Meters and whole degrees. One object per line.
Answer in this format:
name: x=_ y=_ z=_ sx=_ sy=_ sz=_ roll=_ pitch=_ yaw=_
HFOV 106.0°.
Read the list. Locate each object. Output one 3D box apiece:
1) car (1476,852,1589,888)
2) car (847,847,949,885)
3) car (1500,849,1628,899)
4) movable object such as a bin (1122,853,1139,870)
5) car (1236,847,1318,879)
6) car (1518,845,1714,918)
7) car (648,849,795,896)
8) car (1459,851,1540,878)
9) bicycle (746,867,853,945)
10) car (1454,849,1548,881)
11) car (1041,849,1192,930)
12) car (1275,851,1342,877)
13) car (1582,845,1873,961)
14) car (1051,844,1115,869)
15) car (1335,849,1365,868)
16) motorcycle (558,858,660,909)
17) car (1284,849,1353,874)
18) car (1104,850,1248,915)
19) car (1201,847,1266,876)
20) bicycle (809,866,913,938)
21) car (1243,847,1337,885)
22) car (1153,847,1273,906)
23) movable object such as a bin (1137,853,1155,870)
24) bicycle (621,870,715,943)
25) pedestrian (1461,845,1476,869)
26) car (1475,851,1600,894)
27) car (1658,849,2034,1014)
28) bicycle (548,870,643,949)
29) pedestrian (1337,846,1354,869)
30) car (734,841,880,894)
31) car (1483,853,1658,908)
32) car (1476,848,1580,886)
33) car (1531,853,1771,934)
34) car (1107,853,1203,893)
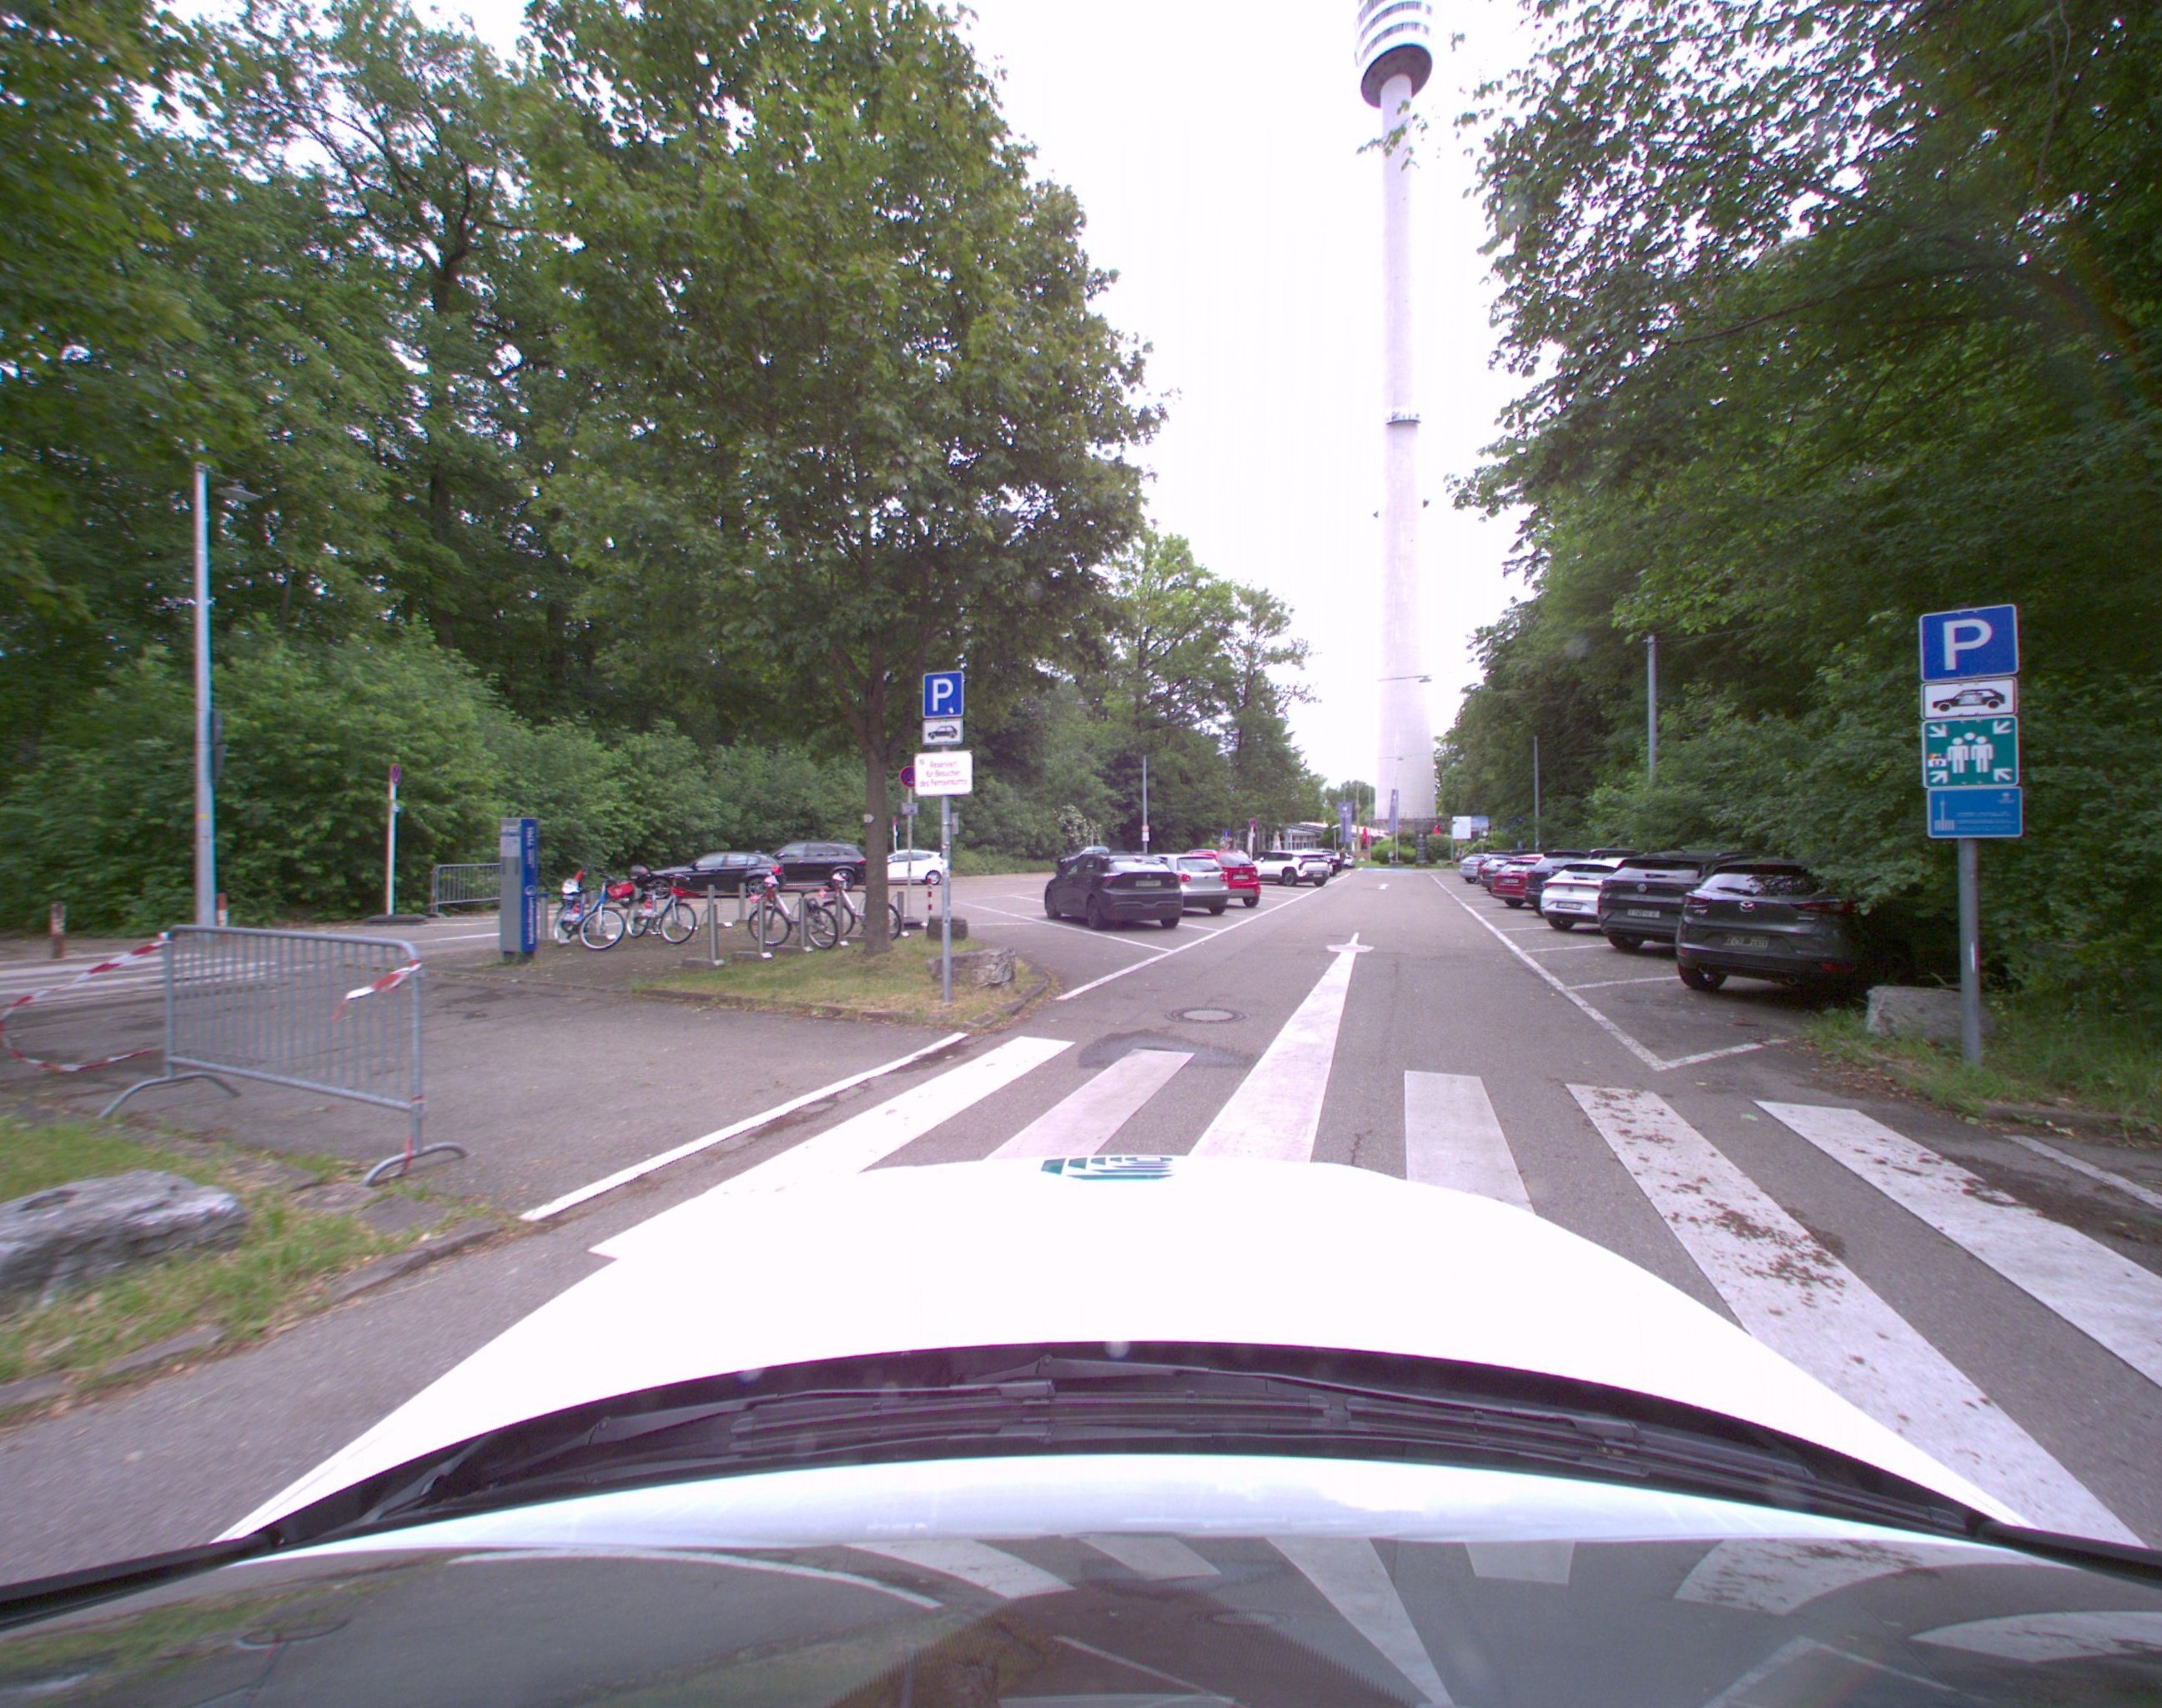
car: x=18.453 y=0.631 z=33.289 sx=4.269 sy=1.377 sz=1.949 roll=0 pitch=0 yaw=-25
car: x=-7.799 y=0.482 z=34.632 sx=4.003 sy=1.510 sz=1.856 roll=0 pitch=0 yaw=-23
car: x=15.625 y=0.604 z=26.383 sx=3.584 sy=1.505 sz=1.723 roll=0 pitch=0 yaw=-21
movable object such as a bin: x=3.786 y=0.580 z=62.446 sx=1.122 sy=1.314 sz=1.181 roll=0 pitch=0 yaw=-7
car: x=9.837 y=0.412 z=41.124 sx=1.878 sy=1.554 sz=3.962 roll=0 pitch=0 yaw=-29
car: x=12.770 y=0.606 z=19.461 sx=4.119 sy=1.618 sz=1.830 roll=0 pitch=0 yaw=-20
car: x=-10.956 y=0.541 z=25.078 sx=4.003 sy=1.376 sz=1.727 roll=0 pitch=0 yaw=-23
car: x=23.987 y=0.588 z=46.644 sx=4.208 sy=1.462 sz=1.885 roll=0 pitch=0 yaw=-22
bicycle: x=-4.315 y=0.772 z=12.465 sx=1.664 sy=1.111 sz=0.485 roll=0 pitch=0 yaw=25
car: x=20.539 y=0.531 z=39.853 sx=3.998 sy=1.467 sz=1.824 roll=-1 pitch=1 yaw=-19
car: x=0.608 y=0.661 z=17.475 sx=1.831 sy=1.523 sz=4.073 roll=0 pitch=0 yaw=-20
car: x=13.153 y=0.528 z=47.249 sx=1.774 sy=1.443 sz=3.817 roll=0 pitch=0 yaw=-22
car: x=10.175 y=0.663 z=12.813 sx=4.210 sy=1.580 sz=1.942 roll=0 pitch=0 yaw=-25
car: x=0.131 y=0.190 z=56.276 sx=4.074 sy=1.685 sz=1.867 roll=0 pitch=0 yaw=-22
car: x=21.640 y=0.340 z=65.453 sx=1.876 sy=1.428 sz=4.022 roll=0 pitch=0 yaw=23
motorcycle: x=-11.601 y=0.708 z=20.068 sx=2.025 sy=1.207 sz=0.727 roll=0 pitch=0 yaw=-13
car: x=14.518 y=0.414 z=50.023 sx=1.762 sy=1.443 sz=4.244 roll=0 pitch=0 yaw=-24
car: x=2.317 y=0.655 z=20.947 sx=1.880 sy=1.483 sz=3.967 roll=0 pitch=0 yaw=-25
car: x=9.115 y=0.426 z=48.891 sx=1.902 sy=1.663 sz=3.967 roll=0 pitch=0 yaw=-25
bicycle: x=-3.667 y=0.771 z=13.547 sx=1.767 sy=1.111 sz=0.485 roll=0 pitch=0 yaw=25
car: x=9.242 y=0.488 z=36.358 sx=1.850 sy=1.596 sz=4.155 roll=0 pitch=0 yaw=-25
car: x=3.761 y=0.602 z=23.765 sx=1.690 sy=1.585 sz=3.624 roll=0 pitch=0 yaw=-25
movable object such as a bin: x=4.970 y=0.568 z=62.592 sx=1.168 sy=1.307 sz=1.310 roll=0 pitch=0 yaw=-7
bicycle: x=-6.809 y=0.838 z=13.396 sx=1.664 sy=1.111 sz=0.509 roll=0 pitch=0 yaw=28
pedestrian: x=28.651 y=0.199 z=60.266 sx=0.902 sy=1.725 sz=0.755 roll=0 pitch=0 yaw=-45
car: x=16.558 y=0.629 z=29.534 sx=4.190 sy=1.457 sz=1.791 roll=0 pitch=0 yaw=-23
car: x=8.389 y=0.705 z=8.926 sx=3.797 sy=1.492 sz=1.686 roll=0 pitch=0 yaw=-24
bicycle: x=-7.455 y=0.818 z=12.482 sx=1.675 sy=1.111 sz=0.485 roll=0 pitch=0 yaw=30
pedestrian: x=19.616 y=0.260 z=60.366 sx=0.897 sy=1.725 sz=0.759 roll=0 pitch=0 yaw=-21
car: x=-9.608 y=0.424 z=28.666 sx=4.712 sy=1.767 sz=2.097 roll=0 pitch=0 yaw=-23
car: x=13.651 y=0.690 z=22.749 sx=4.295 sy=1.414 sz=1.916 roll=0 pitch=0 yaw=-19
car: x=20.316 y=0.541 z=37.023 sx=4.267 sy=1.636 sz=1.951 roll=0 pitch=0 yaw=-23
car: x=11.152 y=0.701 z=15.970 sx=4.119 sy=1.438 sz=1.857 roll=0 pitch=0 yaw=-20
car: x=2.826 y=0.680 z=32.062 sx=1.873 sy=1.442 sz=4.280 roll=0 pitch=0 yaw=-25
